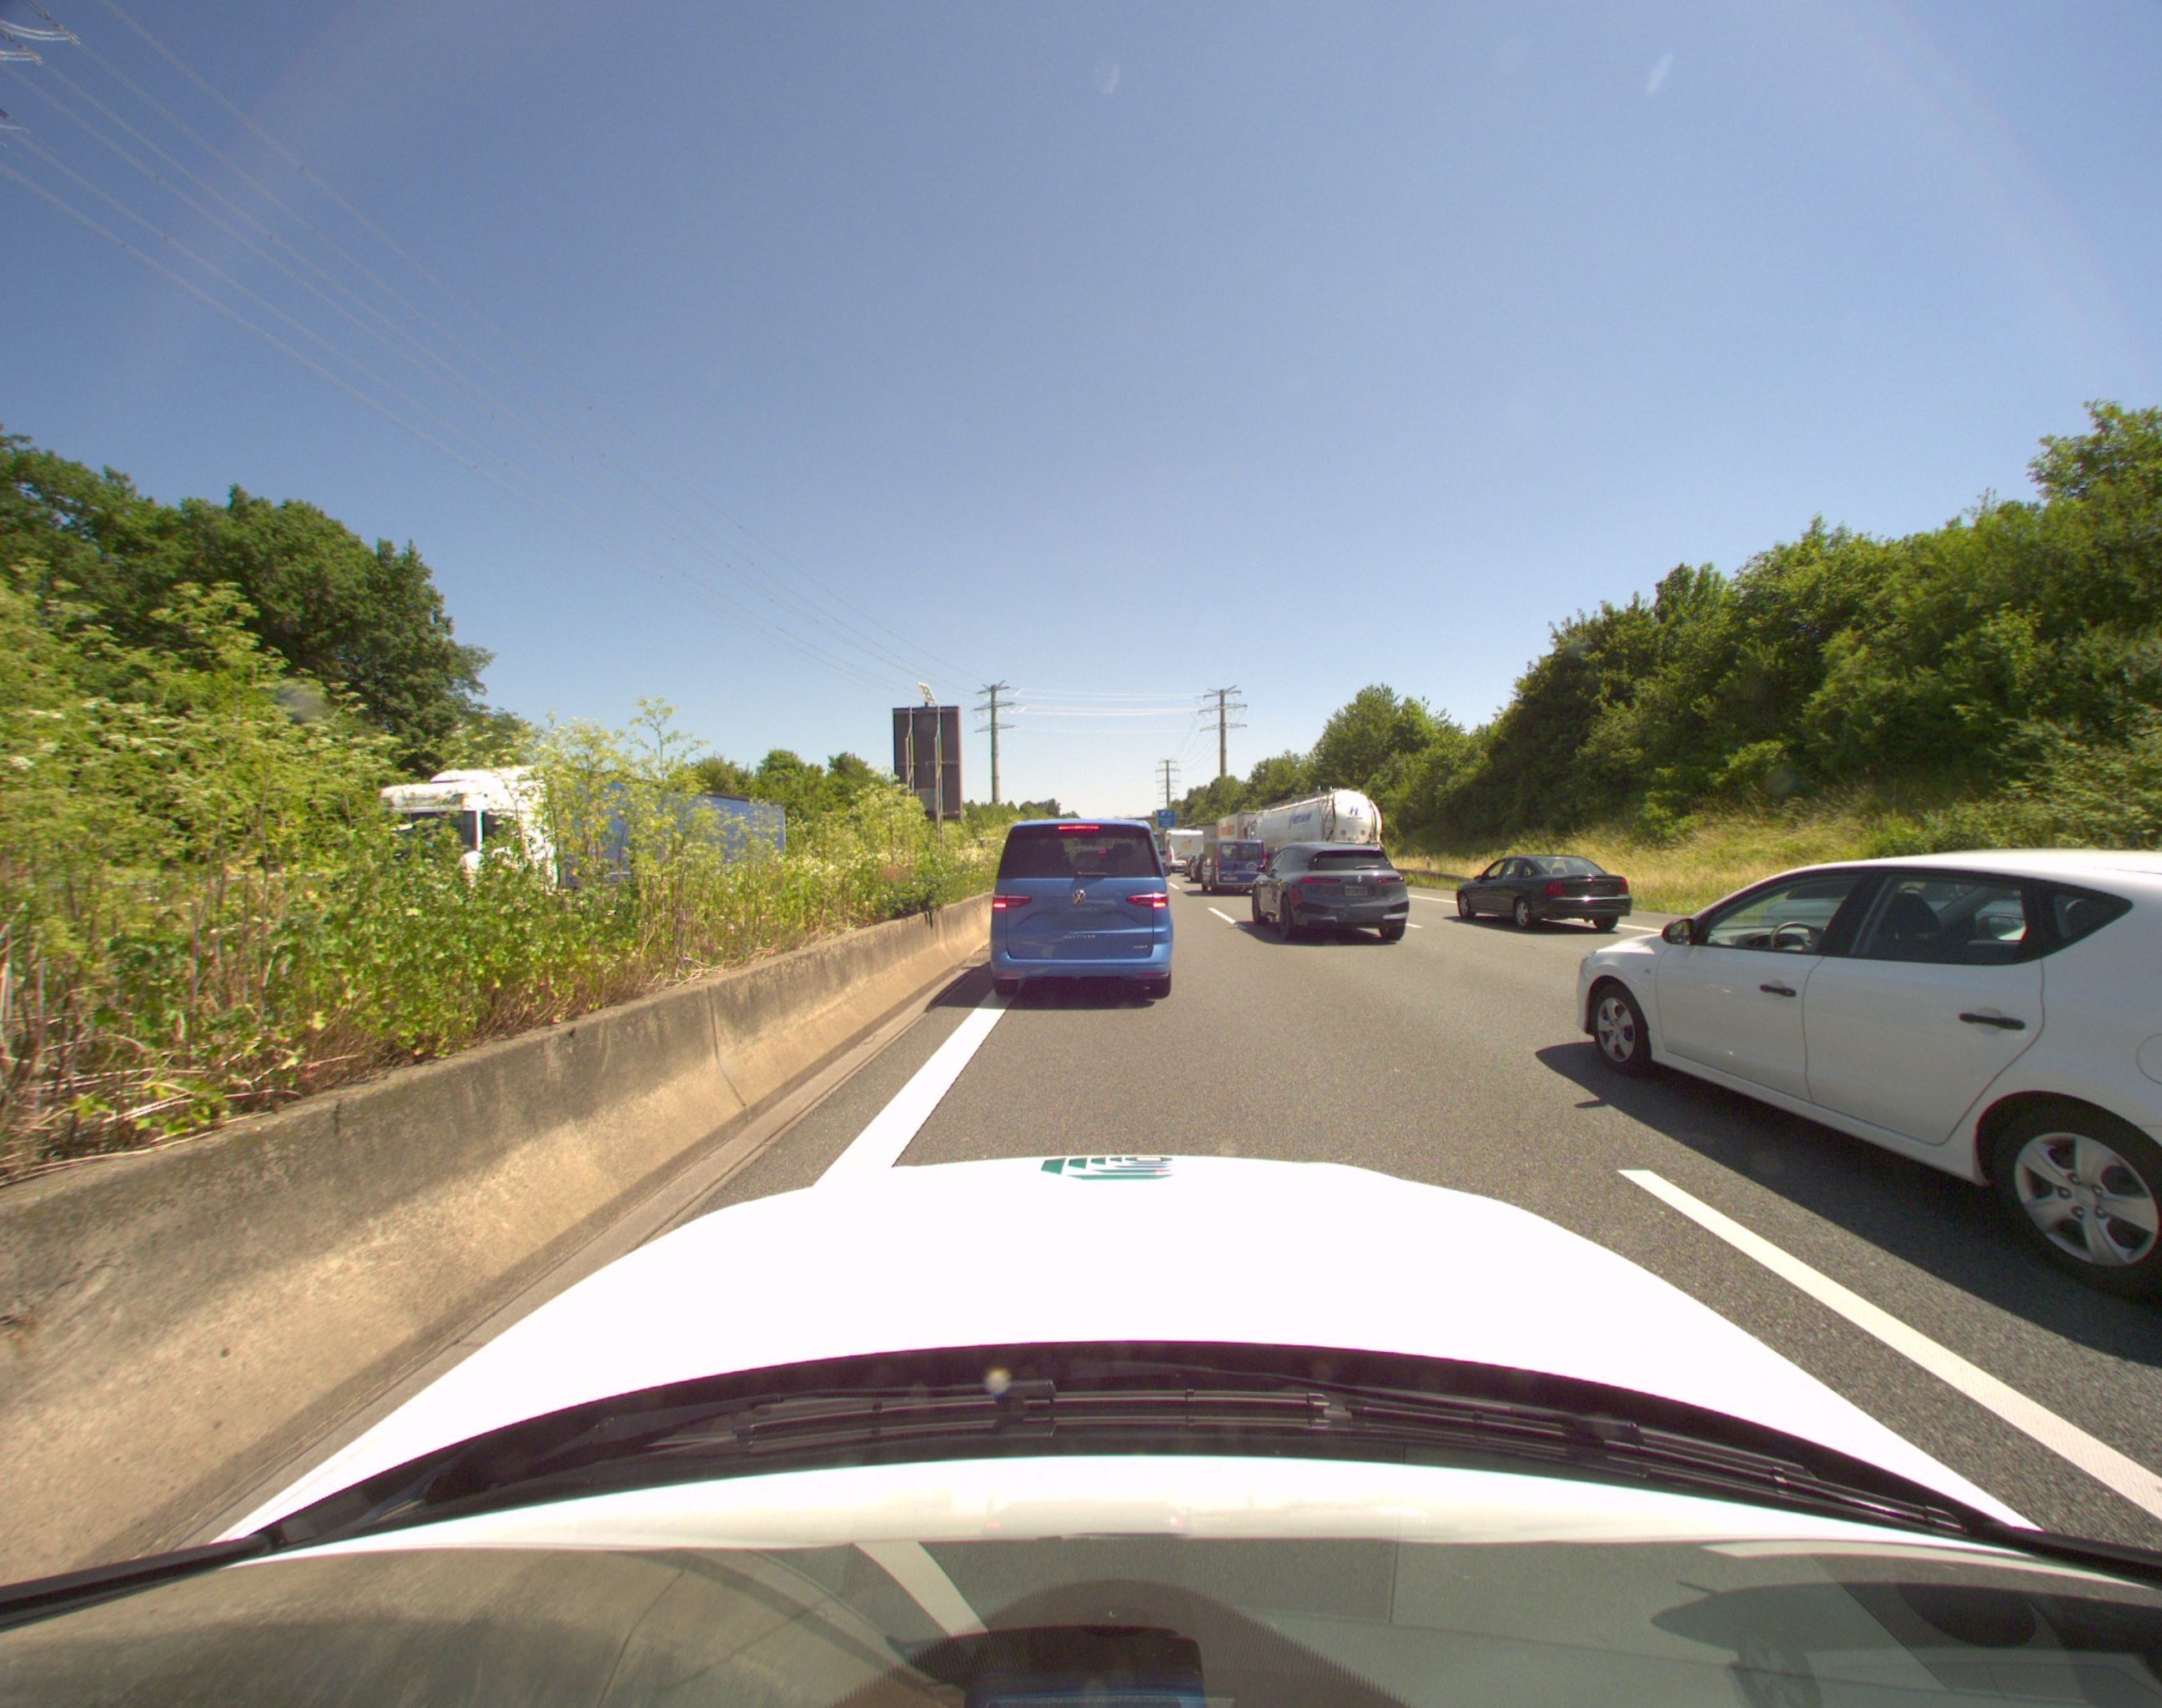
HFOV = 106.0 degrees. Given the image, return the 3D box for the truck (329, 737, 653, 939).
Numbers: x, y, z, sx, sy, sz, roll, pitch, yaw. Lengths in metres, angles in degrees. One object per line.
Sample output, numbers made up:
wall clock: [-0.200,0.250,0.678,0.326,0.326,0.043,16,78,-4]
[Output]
truck: [-14.251,-0.316,20.570,2.999,4.228,6.691,-1,0,3]

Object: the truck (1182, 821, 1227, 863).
truck: [12.114,-1.077,81.642,2.993,3.766,15.726,-1,0,3]

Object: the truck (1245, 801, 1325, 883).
truck: [10.278,-0.551,41.573,2.782,3.836,5.575,-1,0,2]

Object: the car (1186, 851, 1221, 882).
car: [6.119,0.614,40.981,1.355,1.420,3.887,-2,-1,3]

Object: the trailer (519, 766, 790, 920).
trailer: [-13.857,-0.270,28.179,2.999,4.228,10.990,-1,0,3]

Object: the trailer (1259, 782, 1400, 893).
trailer: [10.017,-0.560,34.413,2.750,3.845,11.491,-1,0,2]

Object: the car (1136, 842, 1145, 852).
car: [13.109,-1.611,179.662,1.986,2.126,4.002,-1,0,2]

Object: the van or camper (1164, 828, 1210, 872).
van or camper: [7.703,-0.264,60.064,2.944,3.022,7.110,-1,0,4]

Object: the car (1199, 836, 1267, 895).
car: [5.511,0.427,30.054,1.915,1.925,4.239,-2,-1,4]

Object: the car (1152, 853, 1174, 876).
car: [7.517,0.957,75.063,1.828,1.998,4.004,-2,-1,4]

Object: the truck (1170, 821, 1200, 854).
truck: [13.084,-1.957,103.342,2.883,3.766,13.356,-1,0,3]

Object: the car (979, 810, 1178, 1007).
car: [0.065,0.514,9.824,1.912,1.886,4.003,0,0,3]

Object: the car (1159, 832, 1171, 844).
car: [14.484,-2.739,140.586,1.985,2.014,4.003,-1,0,3]

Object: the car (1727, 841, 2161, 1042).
car: [8.766,0.624,8.005,1.724,1.443,4.031,-1,0,2]

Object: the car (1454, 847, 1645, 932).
car: [9.061,0.642,16.163,1.634,1.416,3.992,-2,-1,3]

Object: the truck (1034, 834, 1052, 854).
truck: [-7.255,-1.965,156.568,3.060,3.709,5.465,-1,0,2]

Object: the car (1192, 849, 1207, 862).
car: [19.159,0.277,131.653,1.986,2.014,4.002,-1,0,2]

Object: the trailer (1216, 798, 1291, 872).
trailer: [11.567,-1.156,56.056,2.901,4.469,12.160,-1,0,2]

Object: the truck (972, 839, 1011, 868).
truck: [-10.835,-0.107,100.004,2.753,3.288,11.831,-1,0,4]

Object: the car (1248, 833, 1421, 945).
car: [4.488,0.587,15.227,1.991,1.715,4.629,-1,-1,3]

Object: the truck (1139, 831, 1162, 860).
truck: [9.494,-1.060,111.772,2.883,3.766,10.149,-1,0,3]

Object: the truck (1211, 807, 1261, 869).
truck: [11.804,-1.159,62.398,2.901,4.469,5.145,-1,0,2]

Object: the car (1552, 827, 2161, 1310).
car: [4.316,0.657,4.052,1.809,1.485,4.004,-2,-1,4]
